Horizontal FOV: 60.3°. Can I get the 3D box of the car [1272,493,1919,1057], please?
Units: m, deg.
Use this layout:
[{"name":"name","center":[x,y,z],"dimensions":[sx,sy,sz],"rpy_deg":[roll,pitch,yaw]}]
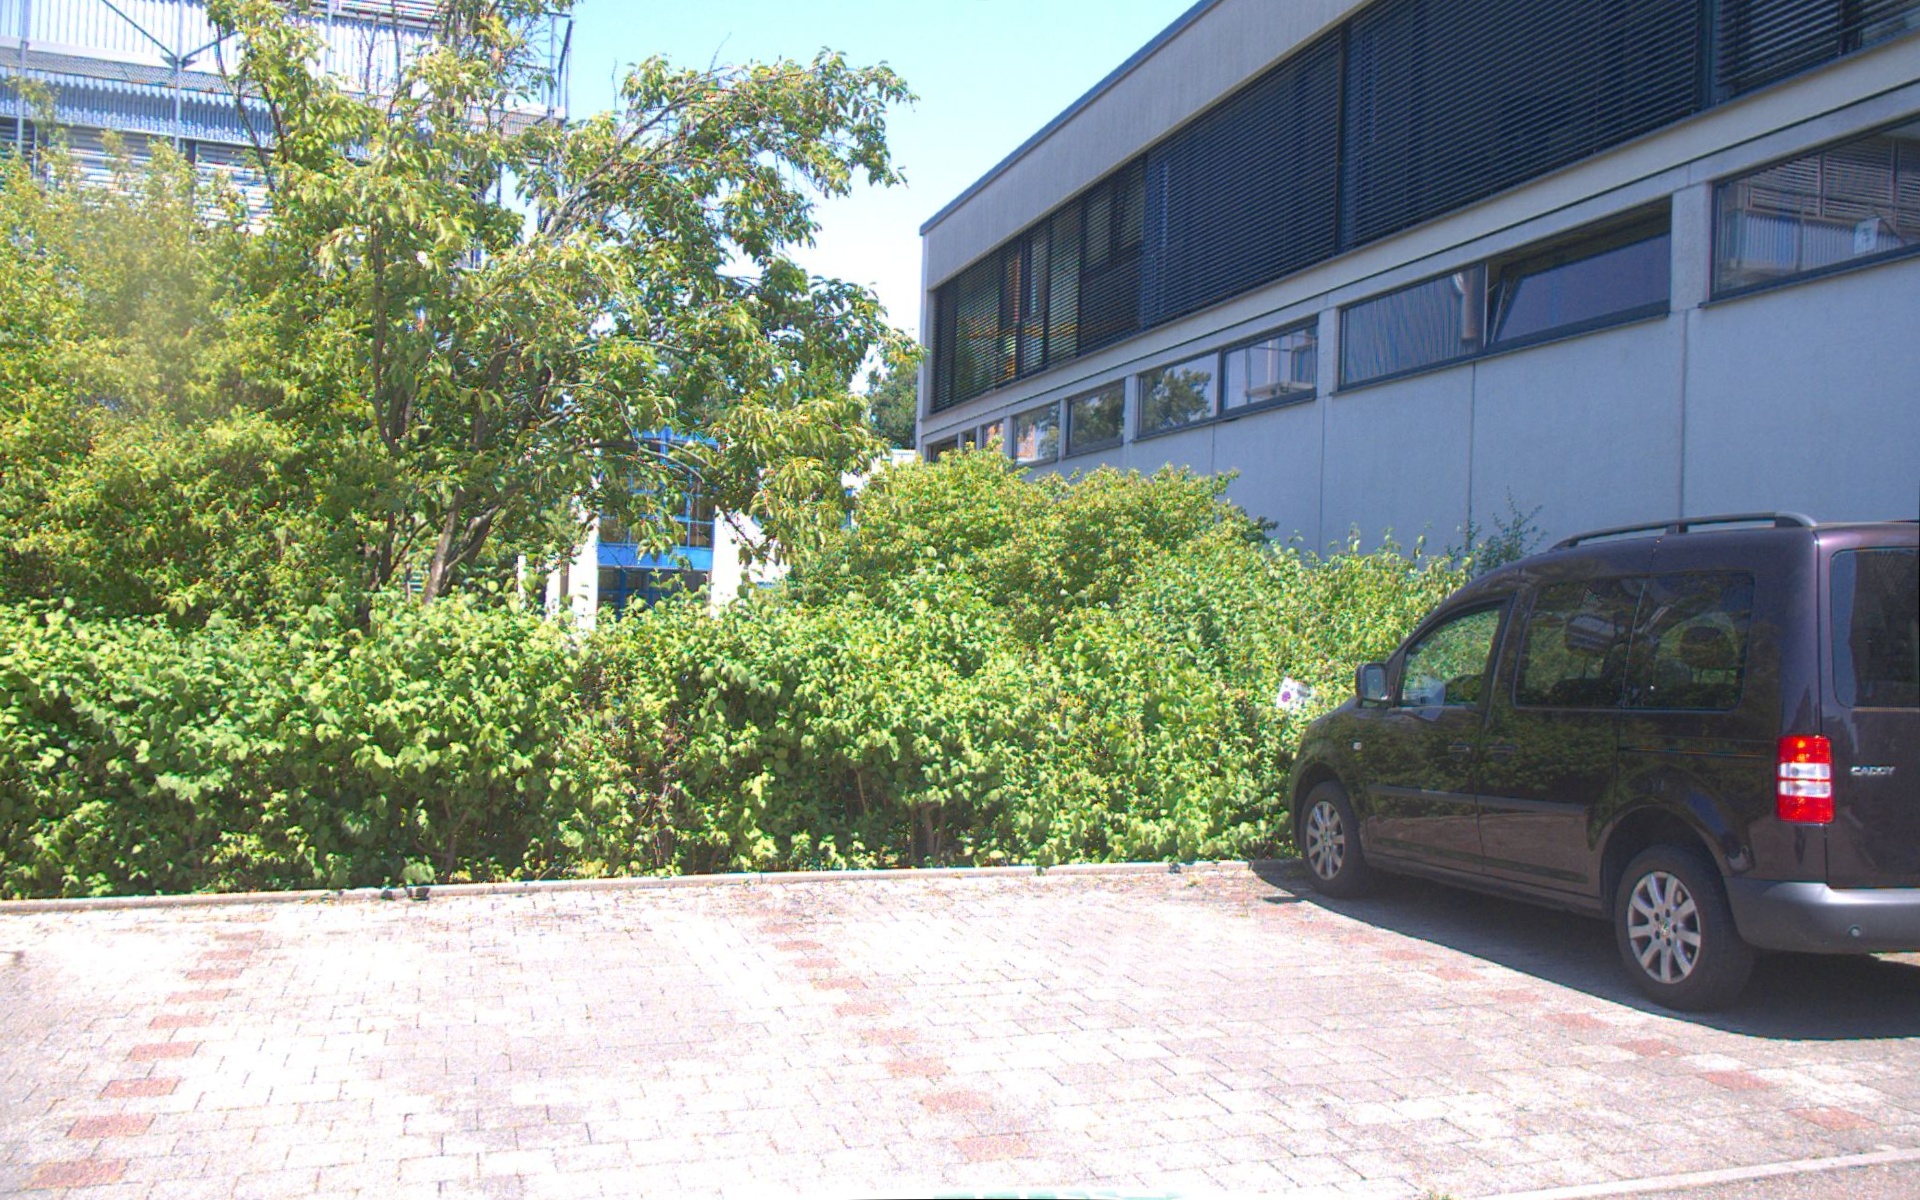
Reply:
[{"name":"car","center":[3.172,0.602,7.666],"dimensions":[1.716,1.869,3.980],"rpy_deg":[1,-1,-18]}]
